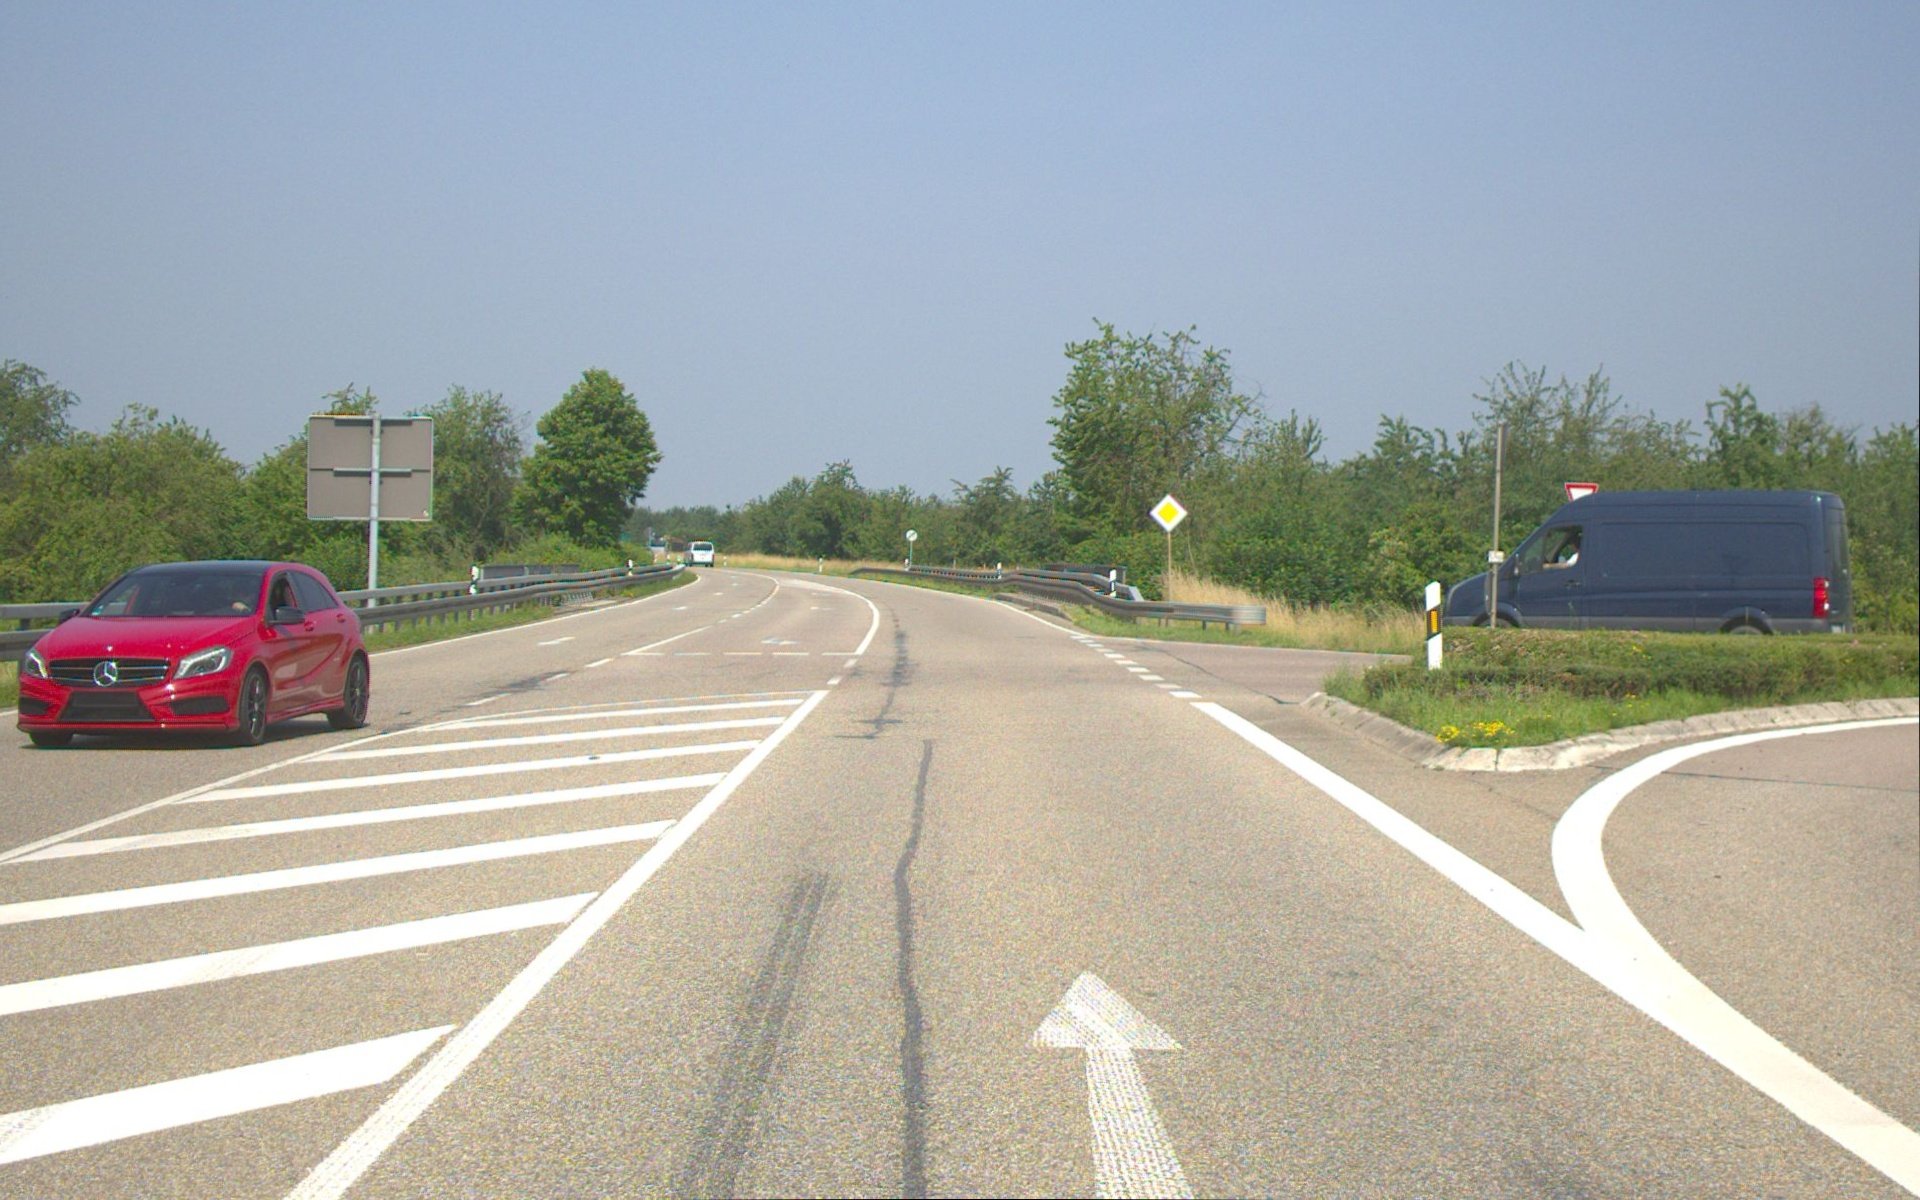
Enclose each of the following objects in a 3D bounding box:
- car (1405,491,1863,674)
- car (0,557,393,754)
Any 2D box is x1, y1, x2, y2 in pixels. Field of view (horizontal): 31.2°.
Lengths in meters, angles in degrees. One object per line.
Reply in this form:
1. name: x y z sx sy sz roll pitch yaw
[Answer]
1. car: 9.873 -0.284 50.476 6.299 2.566 2.060 1 0 23
2. car: -6.144 0.389 27.777 1.816 1.444 4.494 1 1 8
